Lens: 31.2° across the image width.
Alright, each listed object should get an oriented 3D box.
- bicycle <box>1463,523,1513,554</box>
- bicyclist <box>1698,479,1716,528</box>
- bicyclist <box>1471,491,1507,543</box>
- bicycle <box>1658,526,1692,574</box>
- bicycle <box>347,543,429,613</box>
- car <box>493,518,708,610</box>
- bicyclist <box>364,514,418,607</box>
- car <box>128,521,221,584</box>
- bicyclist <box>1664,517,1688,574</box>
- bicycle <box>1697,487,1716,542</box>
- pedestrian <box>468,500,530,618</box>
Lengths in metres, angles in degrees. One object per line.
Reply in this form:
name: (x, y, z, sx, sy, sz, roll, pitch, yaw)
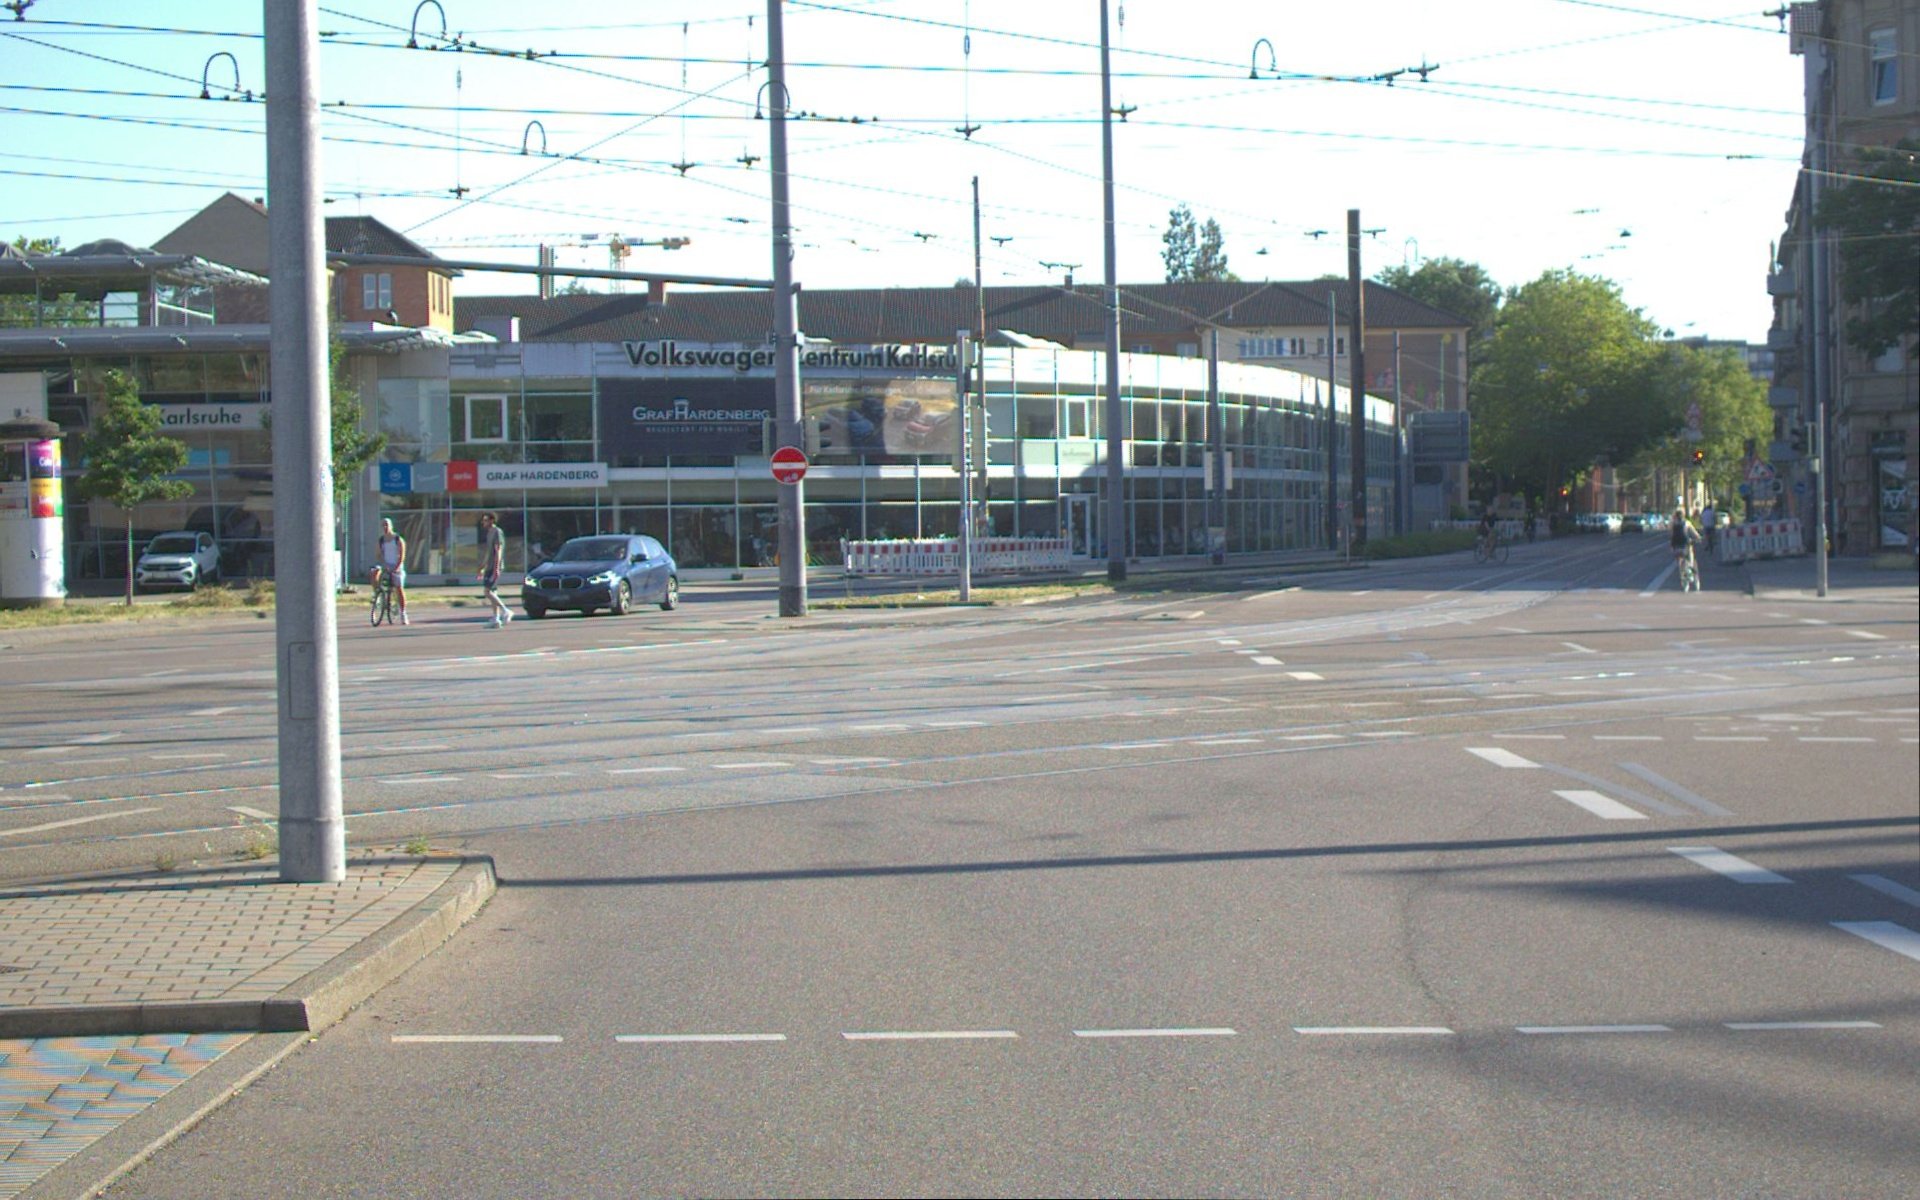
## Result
bicycle: (16.332, -1.897, 106.418, 0.657, 0.949, 1.600, 1, 1, -30)
bicyclist: (27.687, -3.565, 127.431, 0.599, 1.803, 0.827, 1, 0, 13)
bicyclist: (16.368, -2.559, 106.324, 0.771, 1.571, 0.762, 1, 0, -29)
bicycle: (14.041, -0.975, 67.477, 0.410, 0.938, 1.844, 1, 1, 19)
bicycle: (-9.916, -0.389, 59.627, 0.613, 1.185, 1.867, 1, 1, 17)
car: (-6.416, -0.637, 61.783, 1.996, 1.579, 3.994, 1, 1, 27)
bicyclist: (-9.876, -0.684, 59.713, 0.598, 1.610, 0.822, 1, 0, 17)
car: (-22.650, -1.359, 99.199, 1.993, 1.744, 4.001, 1, 1, -4)
bicyclist: (14.091, -1.070, 67.630, 0.408, 1.112, 0.399, 1, 0, 18)
bicycle: (27.675, -3.164, 127.460, 0.618, 2.007, 2.398, 1, 0, 13)
pedestrian: (-7.415, -0.656, 55.286, 0.795, 1.880, 0.758, 1, 0, 7)
